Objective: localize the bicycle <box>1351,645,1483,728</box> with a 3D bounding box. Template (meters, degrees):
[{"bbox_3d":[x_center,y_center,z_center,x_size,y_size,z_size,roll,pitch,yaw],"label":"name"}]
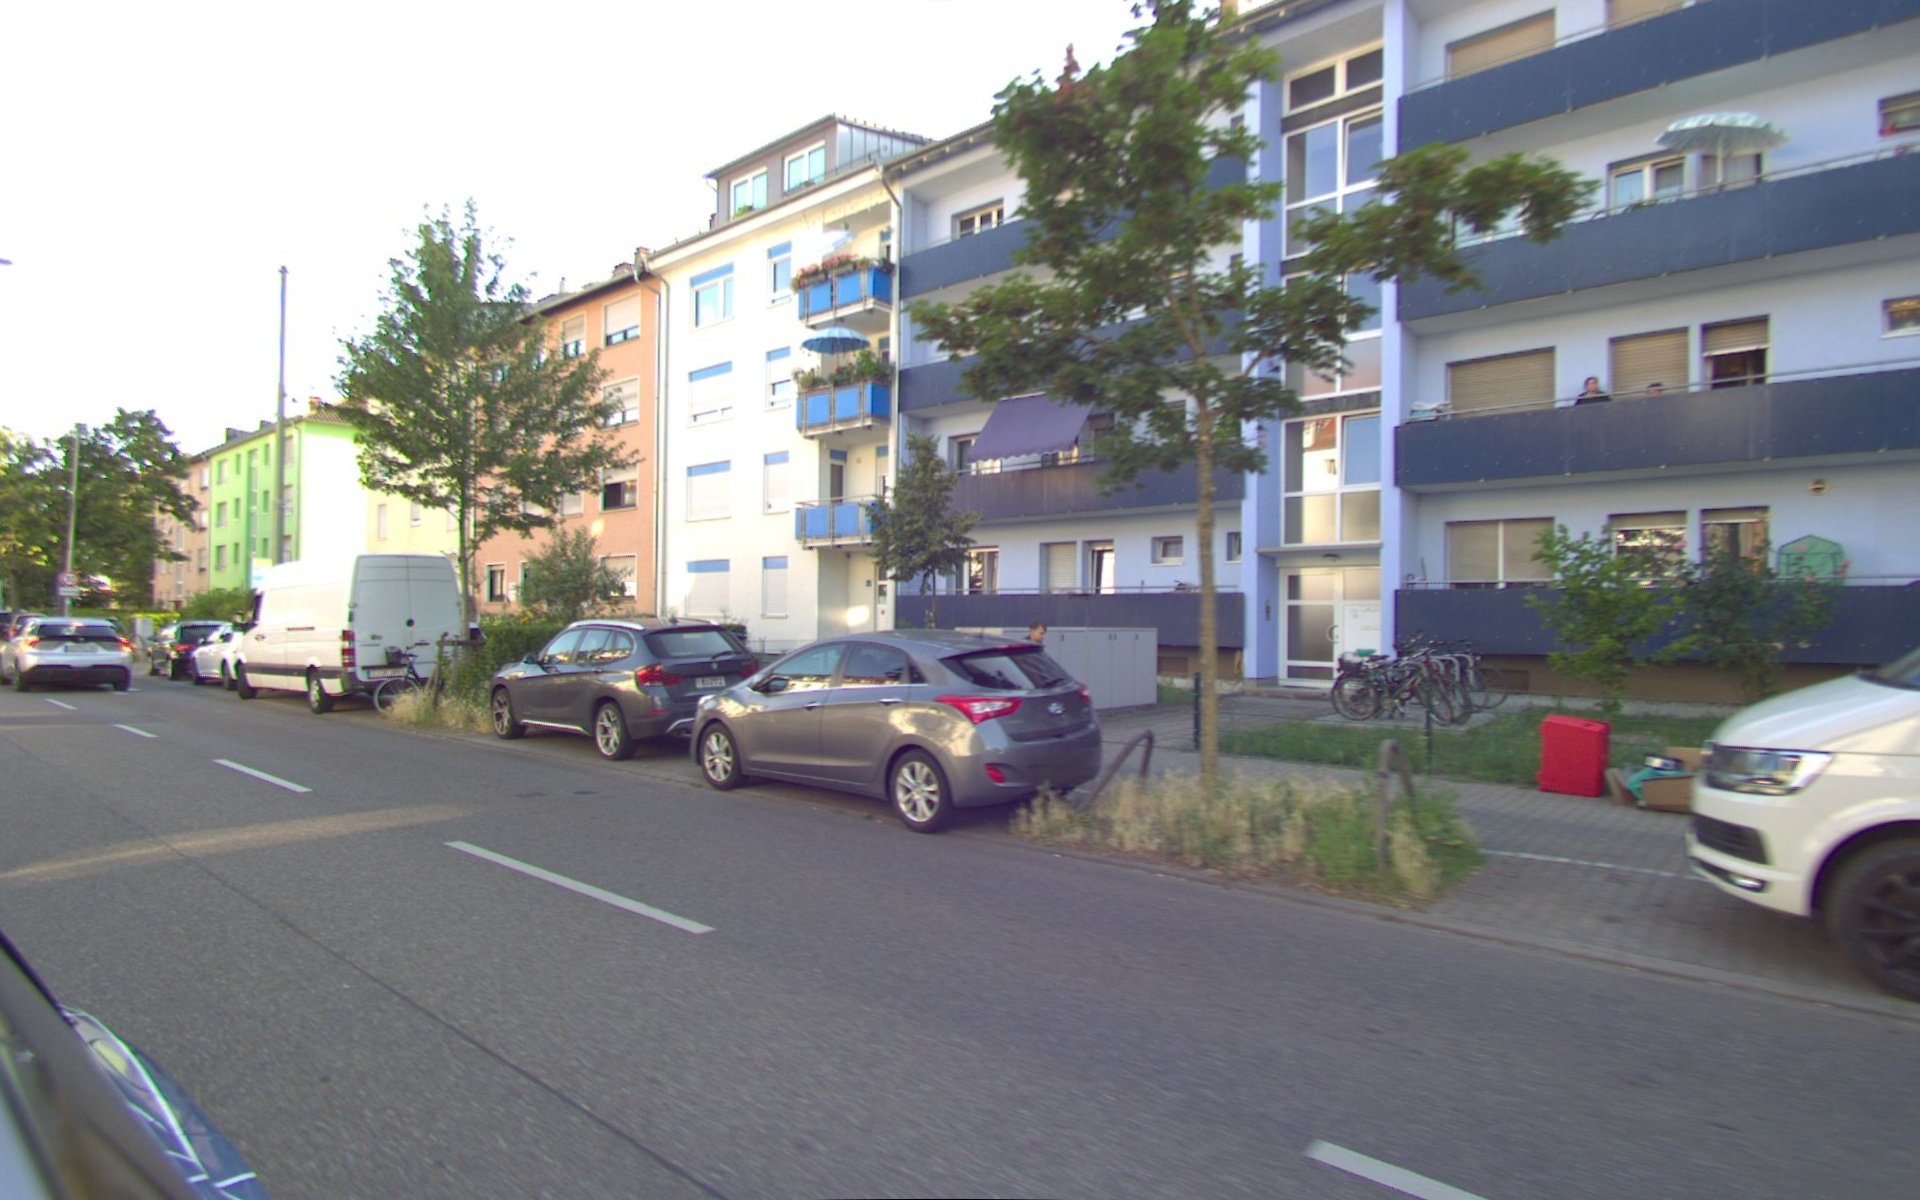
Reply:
[{"bbox_3d":[6.142,1.138,13.671,1.574,1.022,0.433,-1,-3,43],"label":"bicycle"}]

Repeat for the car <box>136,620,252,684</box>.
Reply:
[{"bbox_3d":[-19.749,1.276,26.039,3.810,1.484,1.595,-1,0,41],"label":"car"}]

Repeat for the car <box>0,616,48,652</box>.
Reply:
[{"bbox_3d":[-43.628,1.558,47.158,2.862,1.629,1.482,-1,-1,44],"label":"car"}]

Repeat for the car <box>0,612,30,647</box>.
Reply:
[{"bbox_3d":[-50.163,1.525,52.935,4.615,1.746,1.765,-1,-2,42],"label":"car"}]

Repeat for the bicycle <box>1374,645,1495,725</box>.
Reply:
[{"bbox_3d":[6.591,1.159,14.108,1.477,1.022,0.433,-1,-3,43],"label":"bicycle"}]

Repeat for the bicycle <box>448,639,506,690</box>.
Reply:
[{"bbox_3d":[-10.493,1.373,21.967,0.613,1.022,1.955,2,-2,-41],"label":"bicycle"}]

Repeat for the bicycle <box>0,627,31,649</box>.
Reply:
[{"bbox_3d":[-47.615,1.905,50.613,0.560,1.097,1.657,-1,0,42],"label":"bicycle"}]

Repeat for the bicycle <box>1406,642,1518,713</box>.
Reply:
[{"bbox_3d":[7.667,1.167,15.504,1.477,1.022,0.433,-1,-3,43],"label":"bicycle"}]

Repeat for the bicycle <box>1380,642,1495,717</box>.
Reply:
[{"bbox_3d":[7.037,1.151,14.957,1.481,1.022,0.433,-1,-3,43],"label":"bicycle"}]

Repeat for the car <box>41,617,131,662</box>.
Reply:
[{"bbox_3d":[-31.110,1.355,35.980,4.586,1.516,1.760,-1,-1,41],"label":"car"}]

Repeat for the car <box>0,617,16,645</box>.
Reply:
[{"bbox_3d":[-54.140,1.712,56.440,4.187,1.532,1.666,-1,-1,40],"label":"car"}]

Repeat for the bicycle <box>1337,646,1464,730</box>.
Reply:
[{"bbox_3d":[5.800,1.133,13.369,1.477,1.022,0.433,-1,-3,43],"label":"bicycle"}]

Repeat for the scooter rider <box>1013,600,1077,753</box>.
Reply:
[{"bbox_3d":[0.945,0.835,11.263,0.535,1.643,0.458,-1,-2,45],"label":"scooter rider"}]

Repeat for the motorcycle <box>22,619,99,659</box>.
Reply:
[{"bbox_3d":[-33.984,1.459,38.258,0.979,1.399,2.022,0,1,9],"label":"motorcycle"}]

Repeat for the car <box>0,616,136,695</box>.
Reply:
[{"bbox_3d":[-19.056,1.138,21.365,3.967,1.506,1.763,0,-4,40],"label":"car"}]

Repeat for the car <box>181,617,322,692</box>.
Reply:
[{"bbox_3d":[-16.208,1.168,23.071,4.056,1.503,1.689,-1,1,41],"label":"car"}]

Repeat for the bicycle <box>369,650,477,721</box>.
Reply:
[{"bbox_3d":[-8.578,1.347,16.198,1.454,1.022,0.440,0,-1,-42],"label":"bicycle"}]

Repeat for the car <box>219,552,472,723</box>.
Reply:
[{"bbox_3d":[-11.603,0.616,18.776,7.101,2.636,1.973,-1,-1,41],"label":"car"}]

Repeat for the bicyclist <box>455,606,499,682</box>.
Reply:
[{"bbox_3d":[-10.497,0.944,21.988,0.596,1.605,0.941,2,-2,-42],"label":"bicyclist"}]

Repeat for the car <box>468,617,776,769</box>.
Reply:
[{"bbox_3d":[-4.310,0.991,12.498,4.473,1.554,1.654,-1,-2,43],"label":"car"}]

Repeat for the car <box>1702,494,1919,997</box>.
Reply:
[{"bbox_3d":[5.977,0.578,3.576,5.297,2.046,1.849,-1,-1,40],"label":"car"}]

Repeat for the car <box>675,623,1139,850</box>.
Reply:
[{"bbox_3d":[-0.648,0.965,8.861,4.144,1.495,1.674,-1,-2,43],"label":"car"}]
